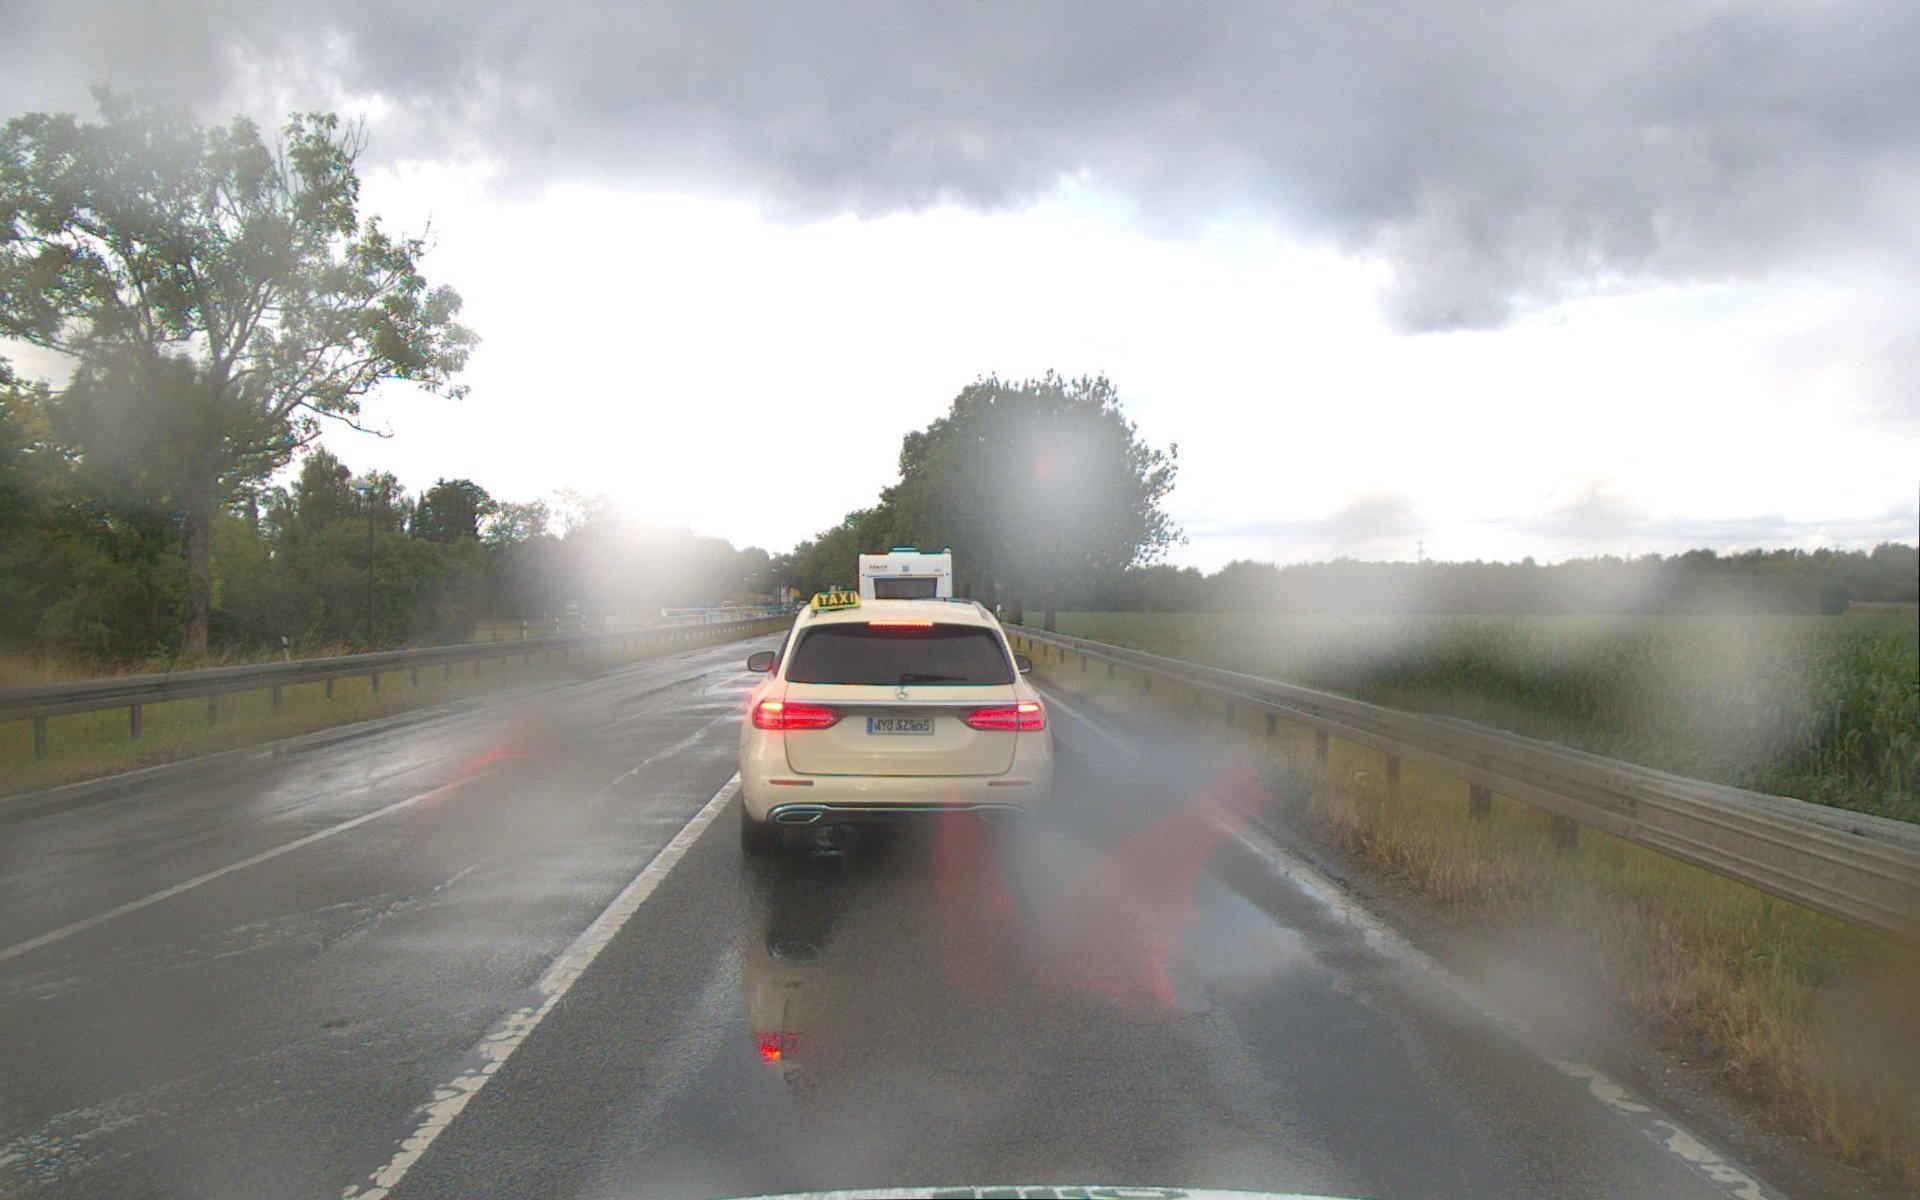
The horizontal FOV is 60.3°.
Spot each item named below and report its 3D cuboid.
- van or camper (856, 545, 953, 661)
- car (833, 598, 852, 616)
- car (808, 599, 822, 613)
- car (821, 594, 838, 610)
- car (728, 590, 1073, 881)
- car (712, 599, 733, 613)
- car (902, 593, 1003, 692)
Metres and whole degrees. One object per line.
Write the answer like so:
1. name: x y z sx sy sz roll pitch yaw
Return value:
1. van or camper: -1.379 0.053 41.984 2.303 2.727 5.766 0 0 -2
2. car: -13.604 0.777 192.314 1.953 2.087 3.999 0 0 -1
3. car: -21.073 0.888 240.185 1.955 2.049 3.994 0 0 -7
4. car: -16.150 0.256 204.857 1.954 2.049 3.997 0 0 -4
5. car: -0.322 0.706 10.670 1.788 1.511 4.144 0 0 0
6. car: -28.760 0.773 200.481 1.953 1.680 4.000 0 0 0
7. car: -0.169 0.667 28.234 1.594 1.556 3.931 0 0 -2
